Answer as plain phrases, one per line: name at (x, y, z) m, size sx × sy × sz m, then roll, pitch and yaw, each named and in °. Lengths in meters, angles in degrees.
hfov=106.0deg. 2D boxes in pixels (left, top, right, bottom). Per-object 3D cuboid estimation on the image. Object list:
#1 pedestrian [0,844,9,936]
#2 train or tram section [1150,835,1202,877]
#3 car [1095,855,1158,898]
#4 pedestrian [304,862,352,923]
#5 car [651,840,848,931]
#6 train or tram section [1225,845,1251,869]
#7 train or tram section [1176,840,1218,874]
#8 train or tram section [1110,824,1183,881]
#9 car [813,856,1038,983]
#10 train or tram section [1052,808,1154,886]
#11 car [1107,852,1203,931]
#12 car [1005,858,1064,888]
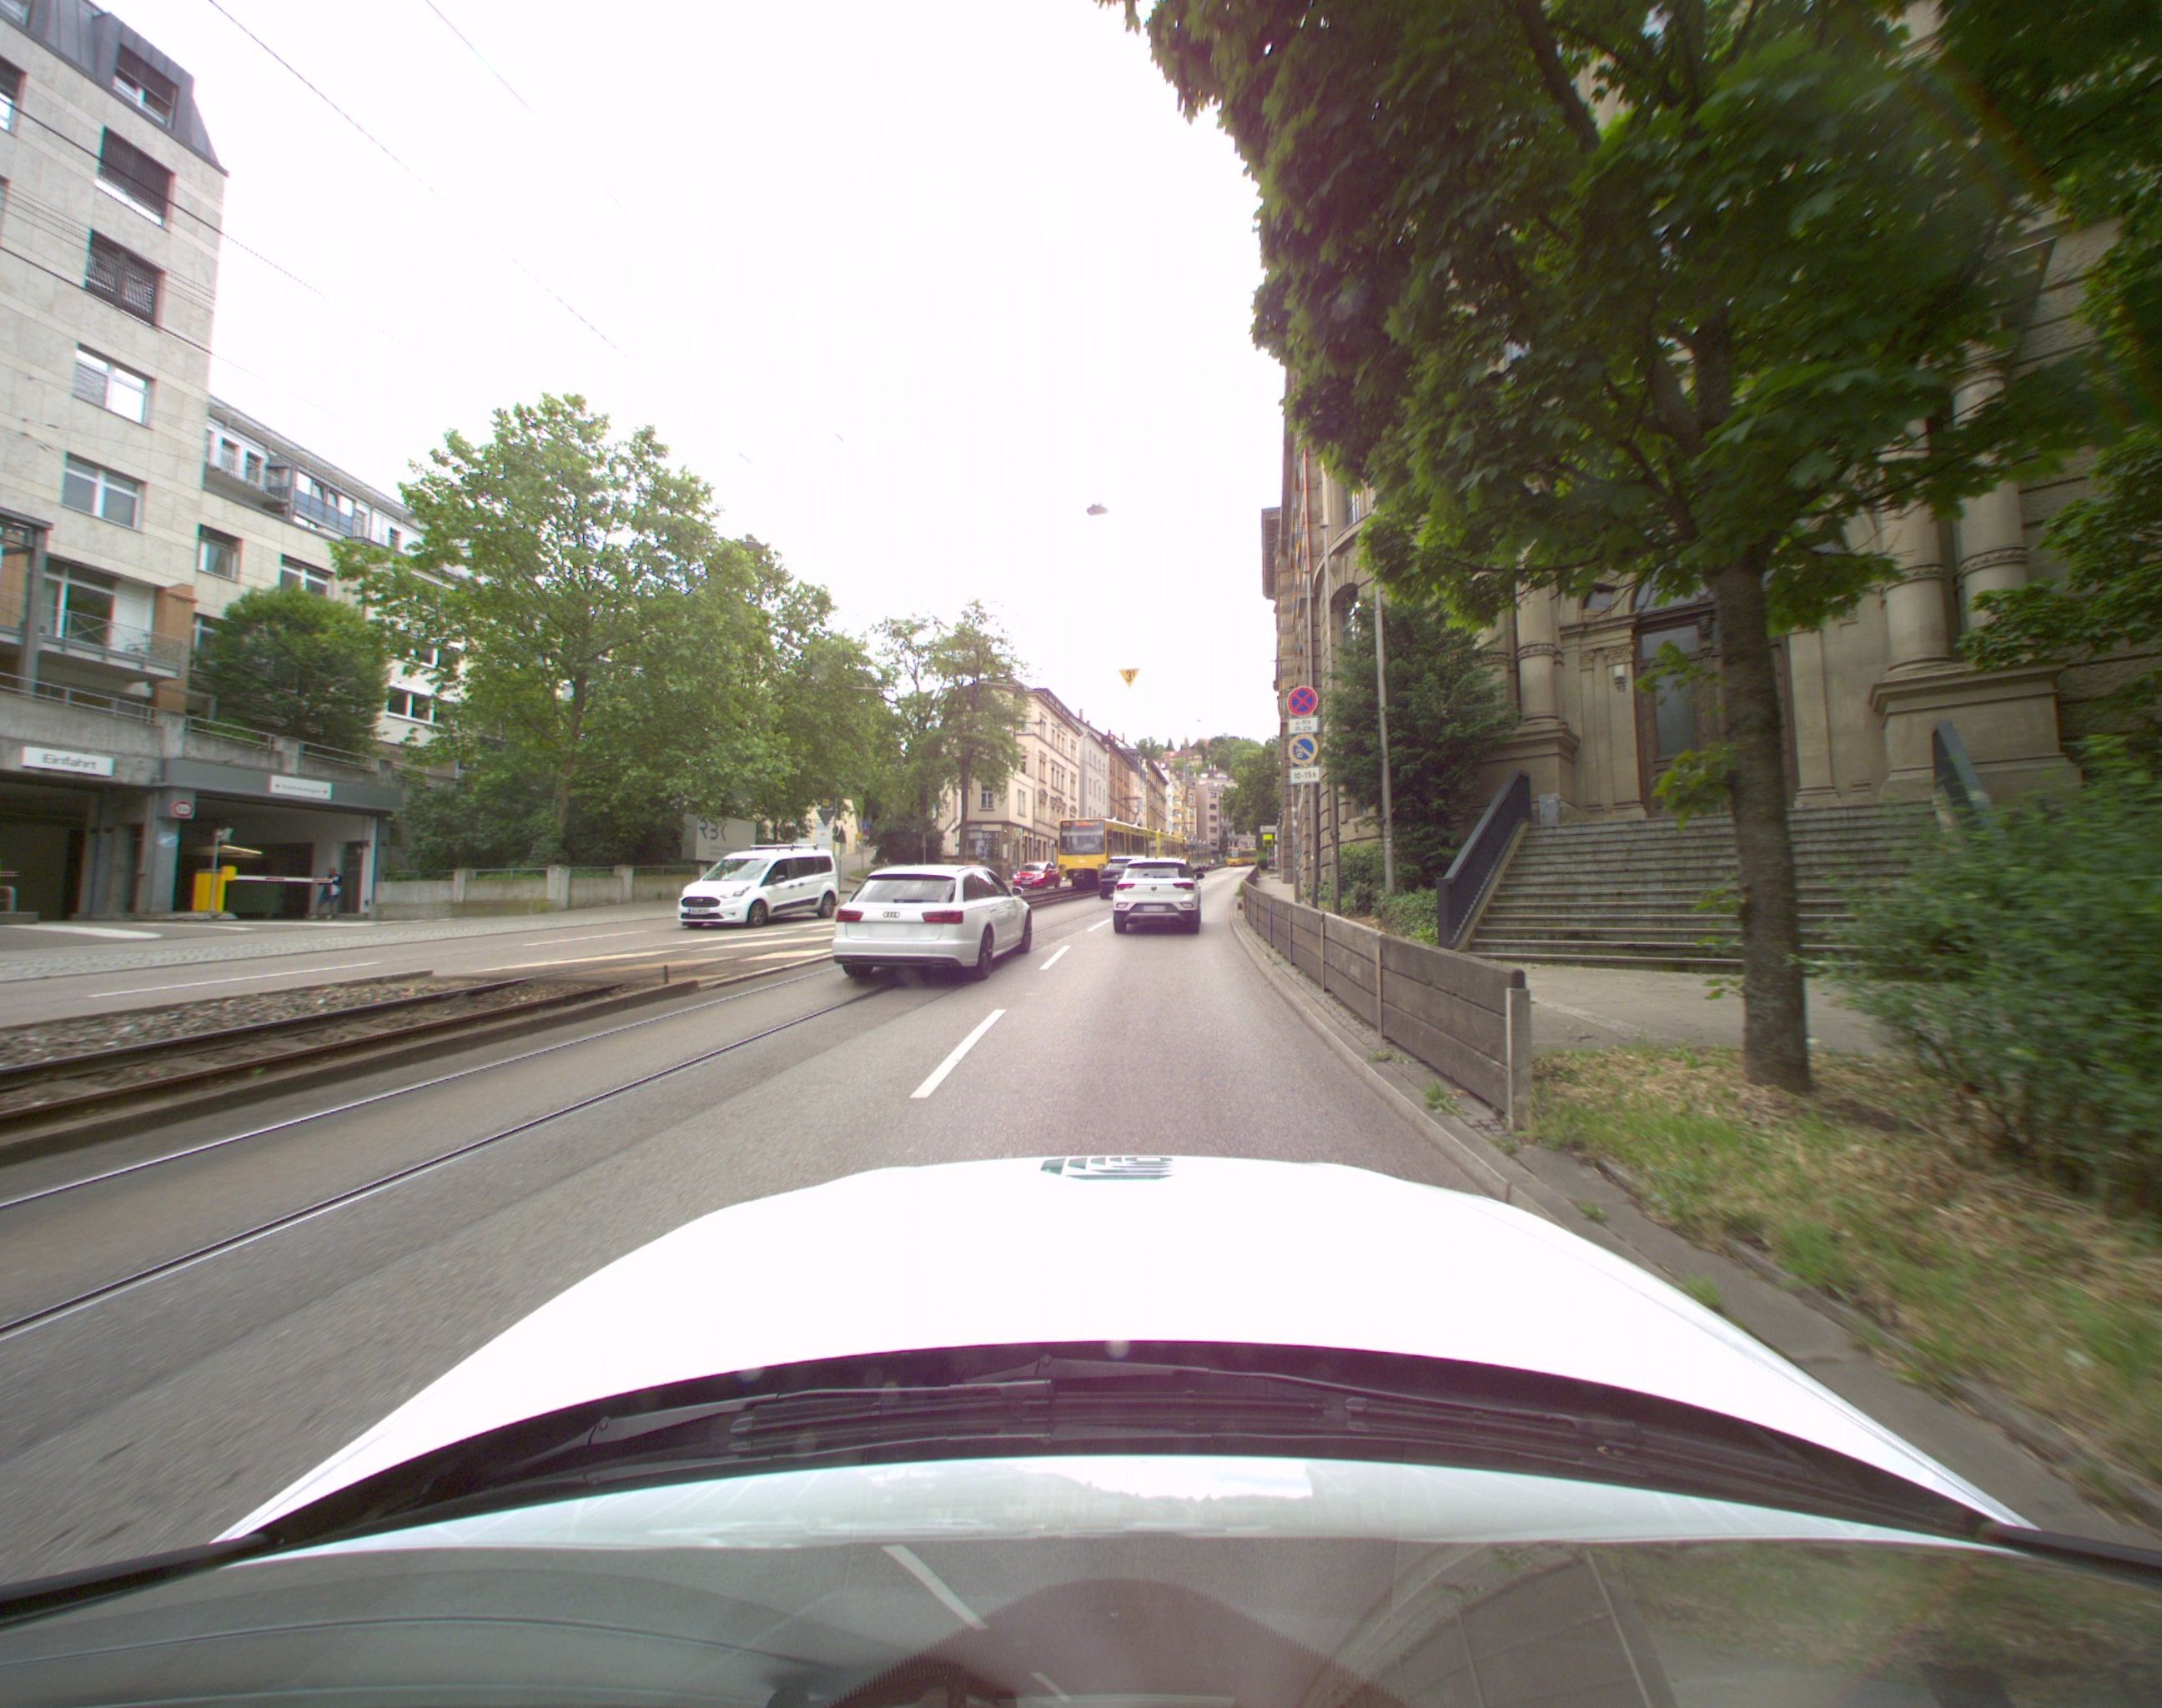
pedestrian at (-18.896, 0.623, 13.845) m, size 0.720 × 1.561 × 0.661 m, roll -2°, pitch -1°, yaw 25°
train or tram section at (9.740, 0.292, 81.164) m, size 2.856 × 3.726 × 18.823 m, roll 1°, pitch -1°, yaw 13°
car at (1.893, 0.871, 32.446) m, size 2.025 × 1.571 × 4.370 m, roll -1°, pitch -1°, yaw 10°
pedestrian at (-24.058, 1.231, 26.029) m, size 0.806 × 1.911 × 0.796 m, roll -1°, pitch -1°, yaw 14°
car at (-7.895, 0.700, 20.039) m, size 1.934 × 1.946 × 5.019 m, roll -1°, pitch 0°, yaw 13°
train or tram section at (29.628, 0.674, 153.190) m, size 2.994 × 4.214 × 18.939 m, roll -1°, pitch -1°, yaw 16°
train or tram section at (14.345, 0.499, 99.409) m, size 2.855 × 3.726 × 18.829 m, roll 1°, pitch -1°, yaw 15°
train or tram section at (5.443, 0.027, 62.870) m, size 2.856 × 3.726 × 18.766 m, roll 1°, pitch -1°, yaw 13°
car at (-1.931, 0.770, 11.717) m, size 1.869 × 1.455 × 4.625 m, roll -1°, pitch 0°, yaw 6°
train or tram section at (1.691, -0.223, 46.443) m, size 2.862 × 3.726 × 14.907 m, roll 1°, pitch -1°, yaw 13°
car at (1.739, 0.779, 18.121) m, size 1.868 × 1.555 × 4.009 m, roll -1°, pitch -1°, yaw 8°
car at (-2.365, 0.980, 42.624) m, size 1.980 × 1.503 × 4.013 m, roll -1°, pitch -1°, yaw 13°
